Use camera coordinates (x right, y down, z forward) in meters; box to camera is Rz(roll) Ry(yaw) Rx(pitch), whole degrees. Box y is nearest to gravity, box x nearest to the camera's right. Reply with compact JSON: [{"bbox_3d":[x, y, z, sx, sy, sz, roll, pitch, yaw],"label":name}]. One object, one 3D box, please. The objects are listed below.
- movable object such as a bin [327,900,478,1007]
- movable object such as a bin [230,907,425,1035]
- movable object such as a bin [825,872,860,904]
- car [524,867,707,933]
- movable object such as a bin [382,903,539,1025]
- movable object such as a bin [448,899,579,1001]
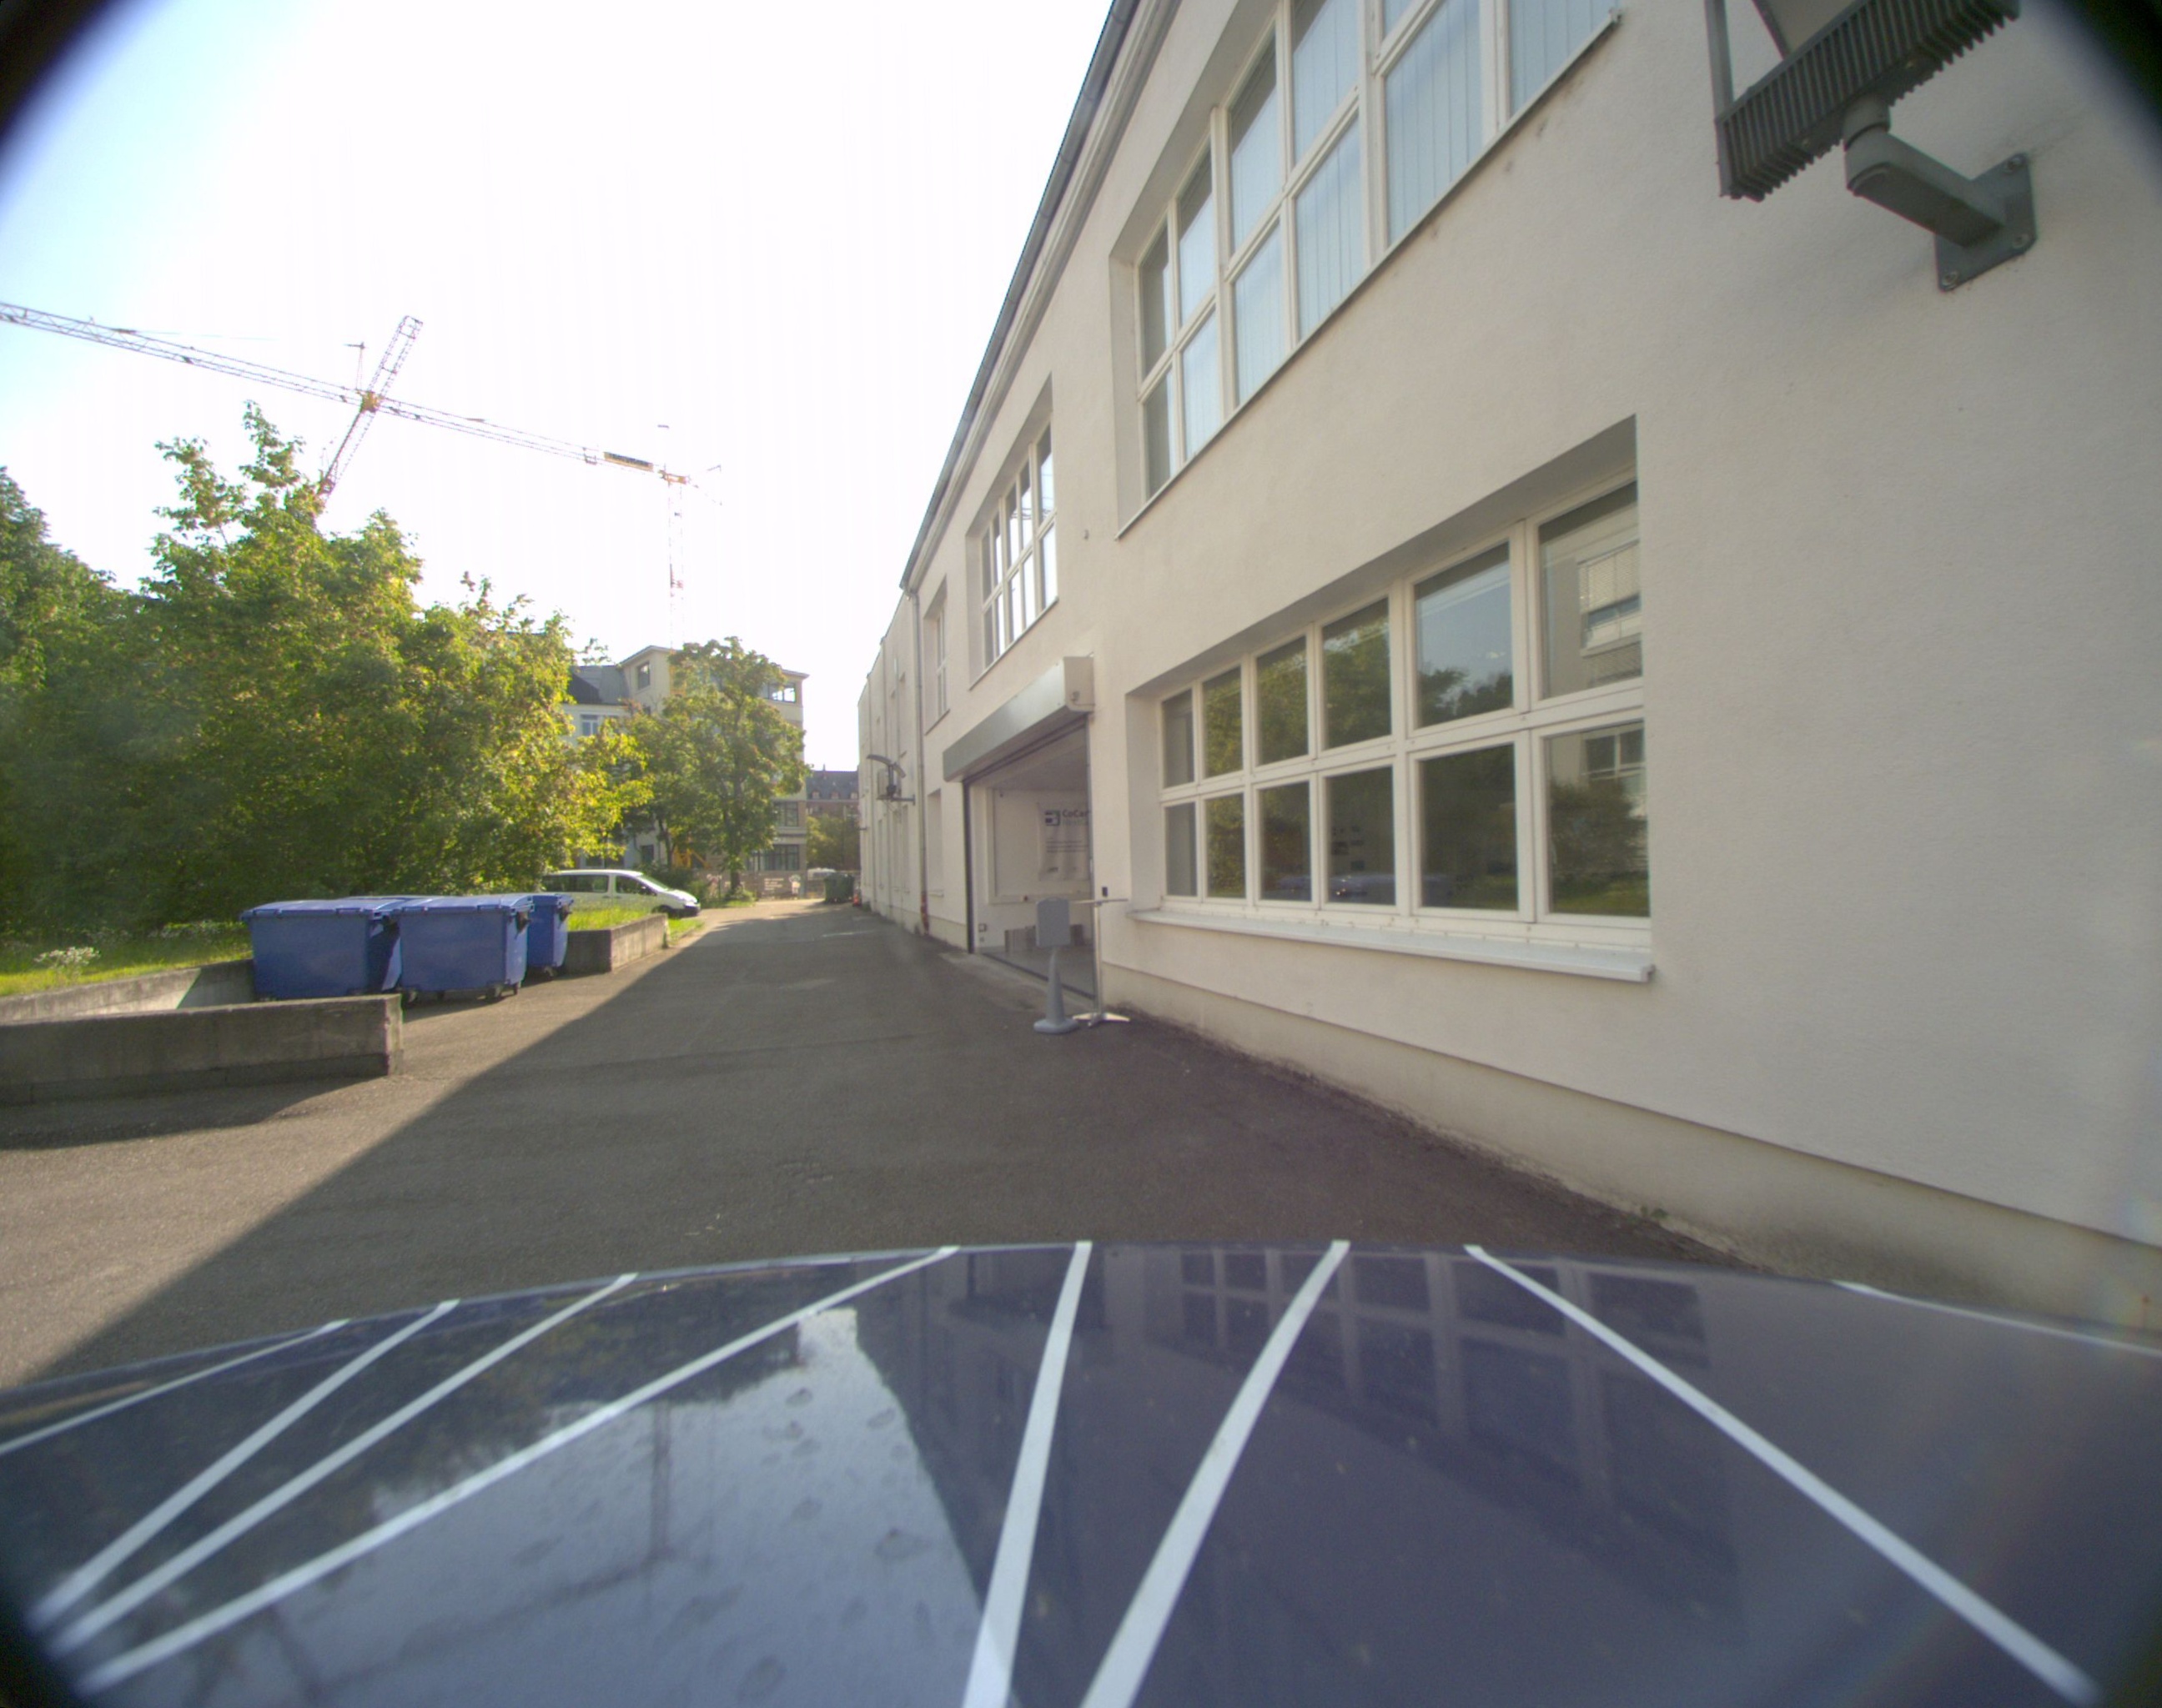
[{"bbox_3d":[-9.710,1.378,10.961,1.201,1.319,1.273,-2,0,-20],"label":"movable object such as a bin"},{"bbox_3d":[-9.224,1.381,9.411,1.259,1.319,1.273,-2,0,-20],"label":"movable object such as a bin"},{"bbox_3d":[-11.521,1.618,36.669,1.527,1.457,1.273,-2,0,-20],"label":"movable object such as a bin"},{"bbox_3d":[-15.248,1.458,25.210,4.797,1.920,1.906,-1,-1,-18],"label":"car"},{"bbox_3d":[-7.954,1.359,9.849,1.216,1.343,1.273,-2,0,-22],"label":"movable object such as a bin"},{"bbox_3d":[-8.391,1.376,11.324,1.201,1.319,1.273,-2,0,-20],"label":"movable object such as a bin"}]
